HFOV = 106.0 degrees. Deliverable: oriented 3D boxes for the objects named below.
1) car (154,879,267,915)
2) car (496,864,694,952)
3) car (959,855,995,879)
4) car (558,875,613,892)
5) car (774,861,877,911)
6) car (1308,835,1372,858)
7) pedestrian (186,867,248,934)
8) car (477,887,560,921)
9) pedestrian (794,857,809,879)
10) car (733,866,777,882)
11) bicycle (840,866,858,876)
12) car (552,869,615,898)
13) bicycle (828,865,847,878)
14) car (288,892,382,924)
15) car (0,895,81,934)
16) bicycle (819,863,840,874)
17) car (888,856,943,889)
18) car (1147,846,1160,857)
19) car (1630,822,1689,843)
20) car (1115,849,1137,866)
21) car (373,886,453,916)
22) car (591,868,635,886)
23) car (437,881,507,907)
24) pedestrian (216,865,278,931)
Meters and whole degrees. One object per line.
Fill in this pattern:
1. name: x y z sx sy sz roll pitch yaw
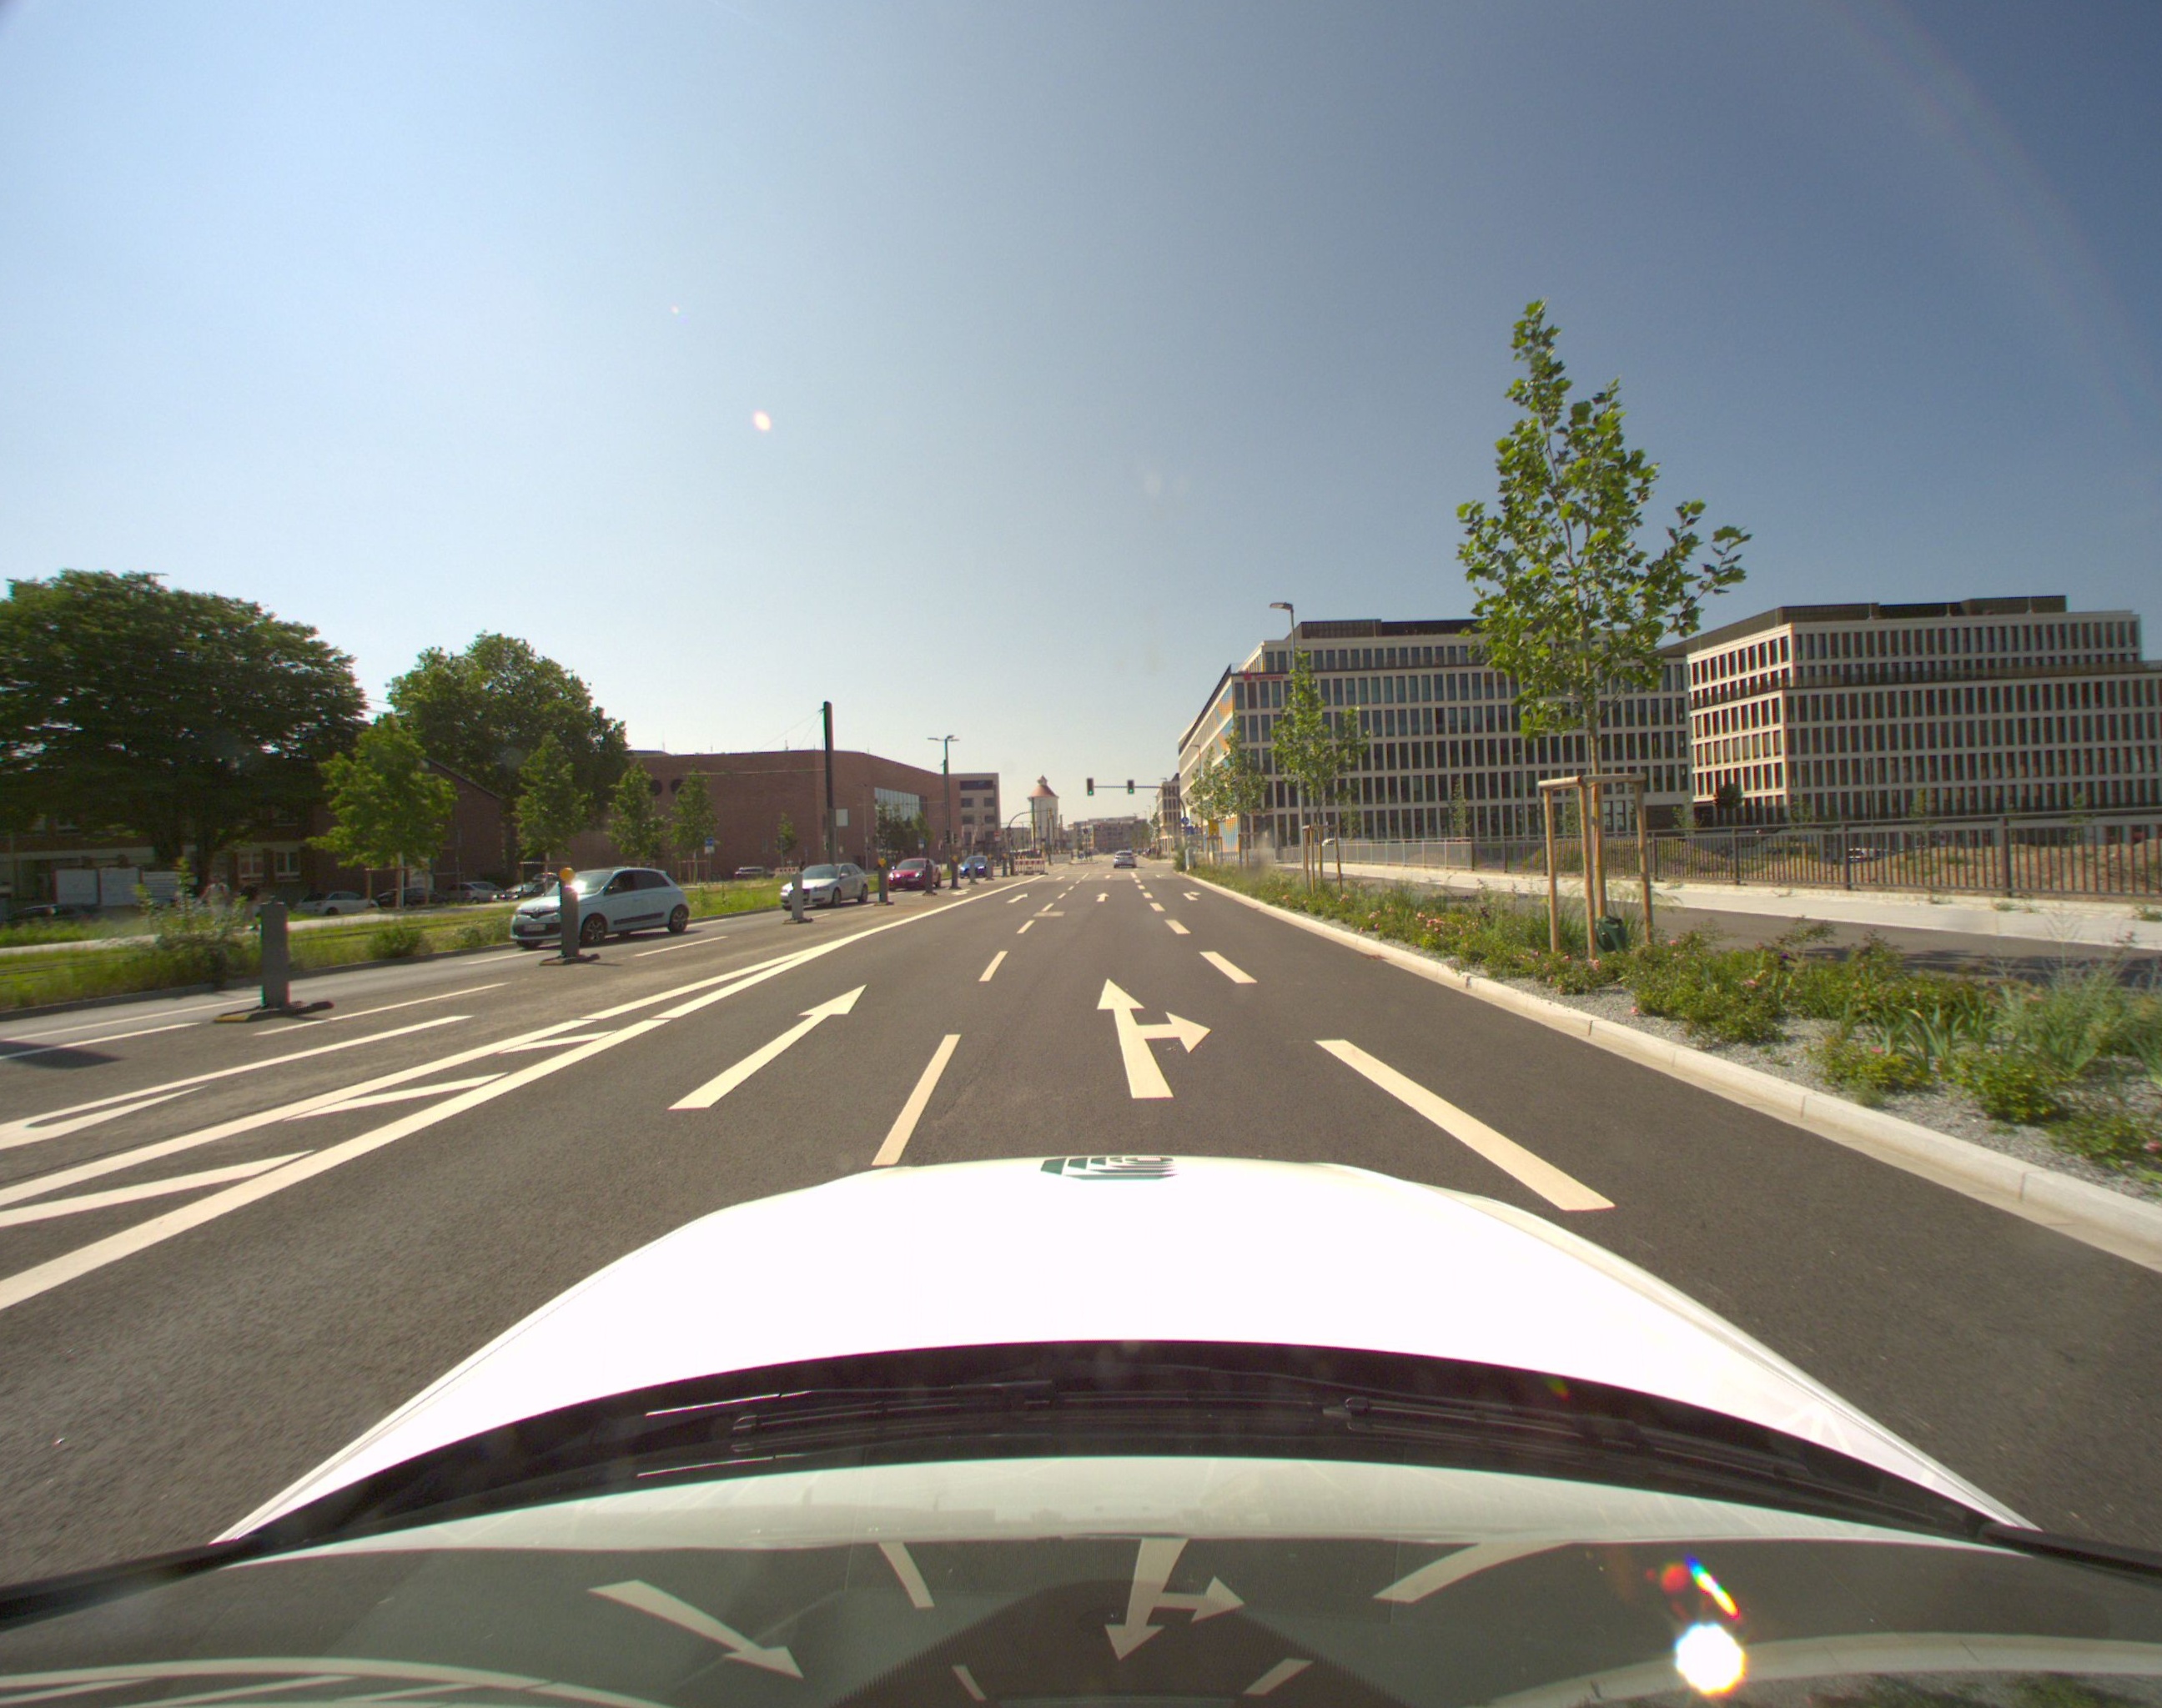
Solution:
1. car: -41.647 2.019 39.093 1.540 1.457 4.248 -2 0 -13
2. car: -10.230 1.072 17.484 1.570 1.530 3.631 -4 0 10
3. car: -6.867 0.819 54.296 1.622 1.427 4.293 -3 0 2
4. car: -46.219 2.743 75.997 3.965 1.403 2.004 -2 -1 7
5. car: -8.426 1.008 27.251 1.571 1.416 4.305 -3 0 7
6. car: 26.080 -0.753 82.251 5.813 2.270 2.148 0 0 2
7. pedestrian: -27.248 1.447 25.698 0.835 2.013 0.985 -1 0 5
8. car: -34.454 3.036 50.039 1.691 1.761 4.534 -2 -1 3
9. pedestrian: -24.186 1.199 70.579 0.807 1.847 1.109 -2 0 5
10. car: -30.803 1.909 76.908 3.465 1.369 1.574 -1 1 1
11. bicycle: -28.863 2.085 101.414 2.050 1.212 0.538 -2 0 -9
12. car: -33.660 1.963 55.227 1.691 1.761 3.943 -2 -1 3
13. bicycle: -27.919 2.034 93.346 2.050 1.453 0.538 -2 0 -9
14. car: -39.680 2.842 43.460 1.534 1.457 3.785 -2 0 -1
15. car: -45.325 2.589 34.356 3.746 1.457 1.536 -2 0 -15
16. bicycle: -27.416 1.572 88.829 2.050 1.212 0.538 -2 0 -9
17. car: -7.814 0.857 38.751 1.574 1.416 4.001 -3 0 2
18. car: 10.829 -0.365 120.750 1.727 1.474 3.988 -2 0 7
19. car: 47.582 -1.762 67.006 3.666 1.594 1.658 -1 0 3
20. car: 3.841 0.321 69.545 1.763 1.395 3.536 -1 -1 4
21. car: -39.295 2.749 48.037 1.533 1.457 3.787 -2 1 0
22. car: -48.343 2.331 84.090 3.528 1.689 1.695 -1 1 2
23. car: -39.830 2.609 53.371 1.532 1.457 3.791 -2 1 3
24. pedestrian: -26.235 1.379 25.620 0.978 2.013 0.911 -1 0 5
